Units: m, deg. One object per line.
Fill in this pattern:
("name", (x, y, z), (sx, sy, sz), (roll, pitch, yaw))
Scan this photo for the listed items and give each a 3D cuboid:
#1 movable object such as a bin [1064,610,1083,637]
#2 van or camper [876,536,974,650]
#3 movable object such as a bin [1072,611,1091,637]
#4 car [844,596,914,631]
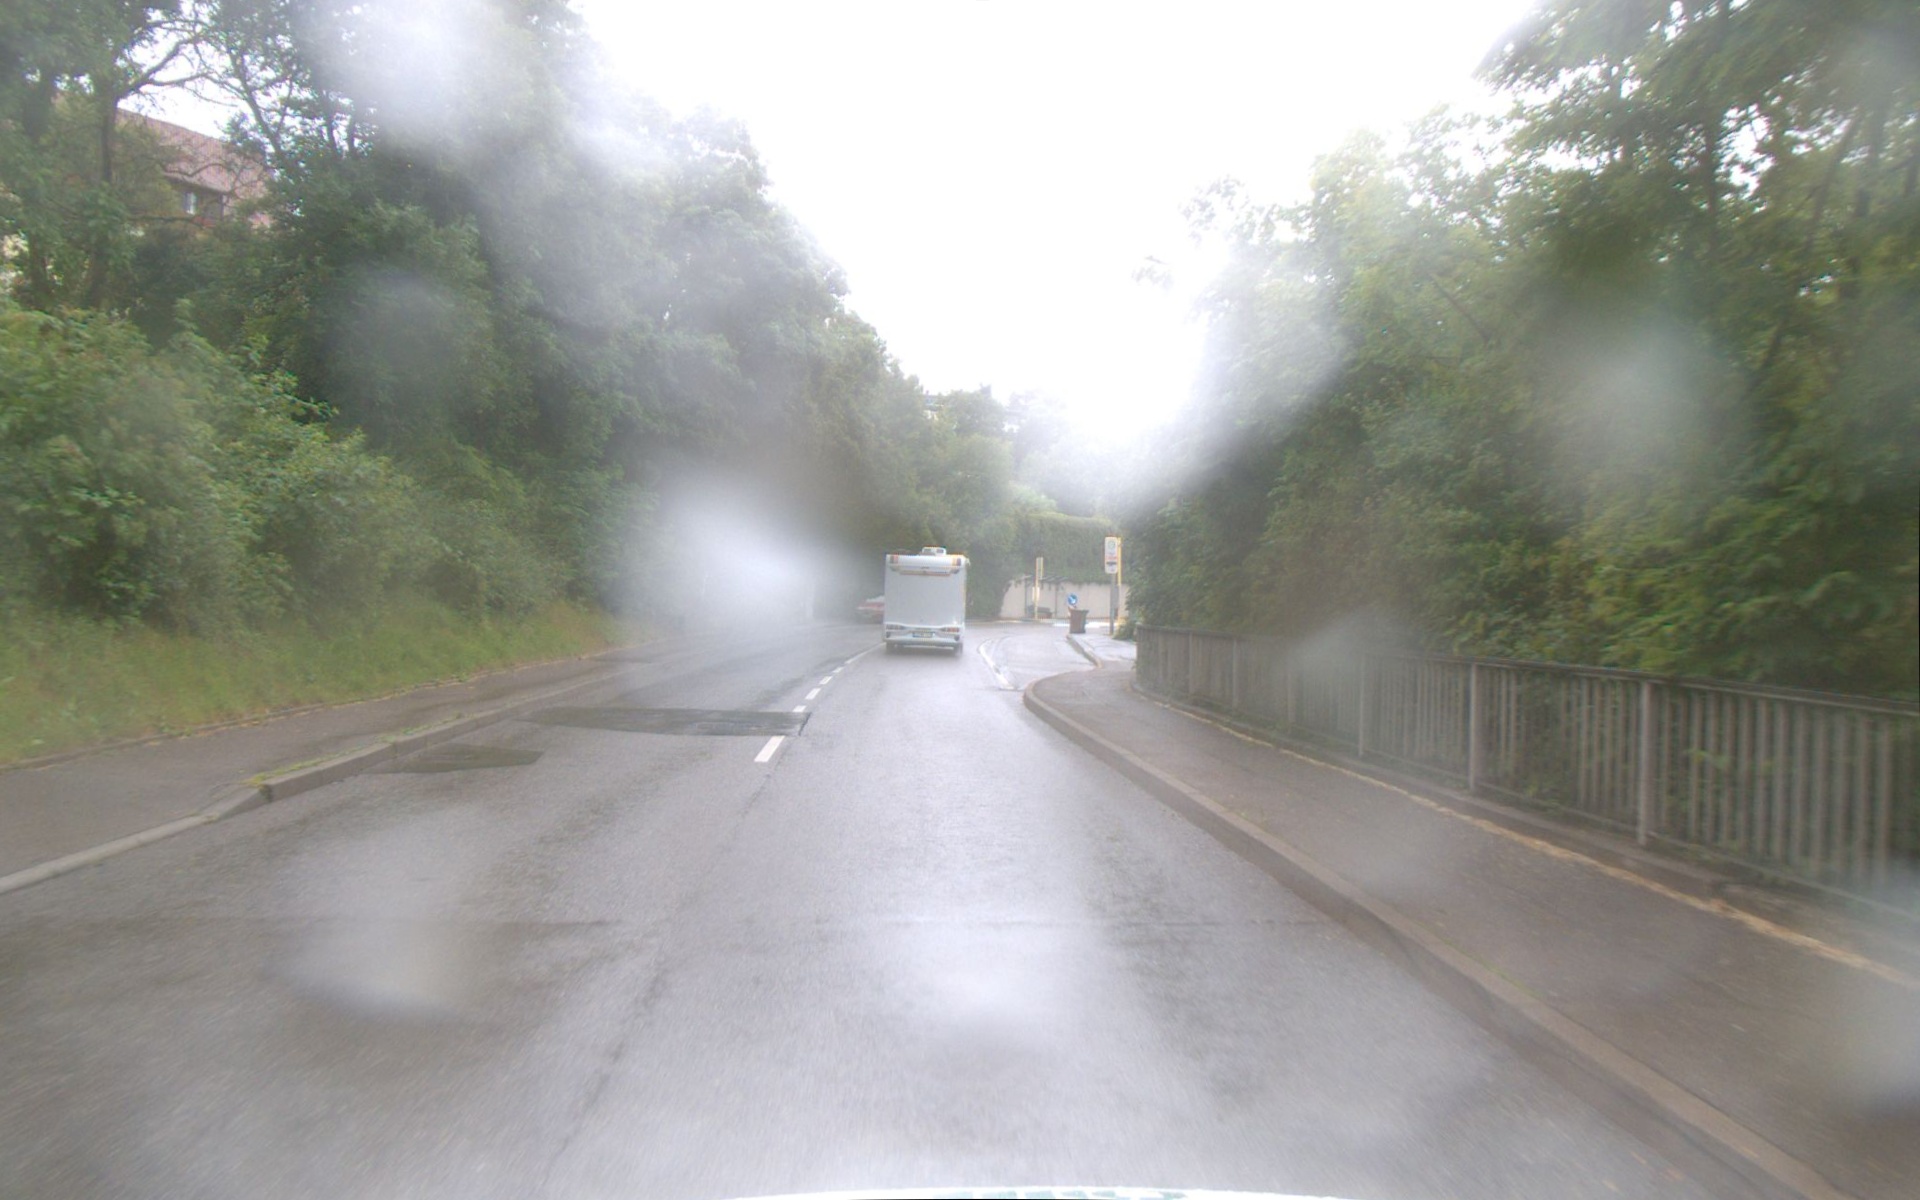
("movable object such as a bin", (5.016, 1.044, 73.204), (0.761, 1.153, 0.739), (2, 0, 8))
("van or camper", (-1.087, -0.143, 47.646), (2.490, 2.976, 5.943), (-2, -1, -4))
("movable object such as a bin", (5.484, 1.071, 74.634), (0.761, 1.153, 0.739), (2, 0, 8))
("car", (-3.961, 0.654, 81.653), (1.952, 1.589, 4.655), (2, 0, 17))
